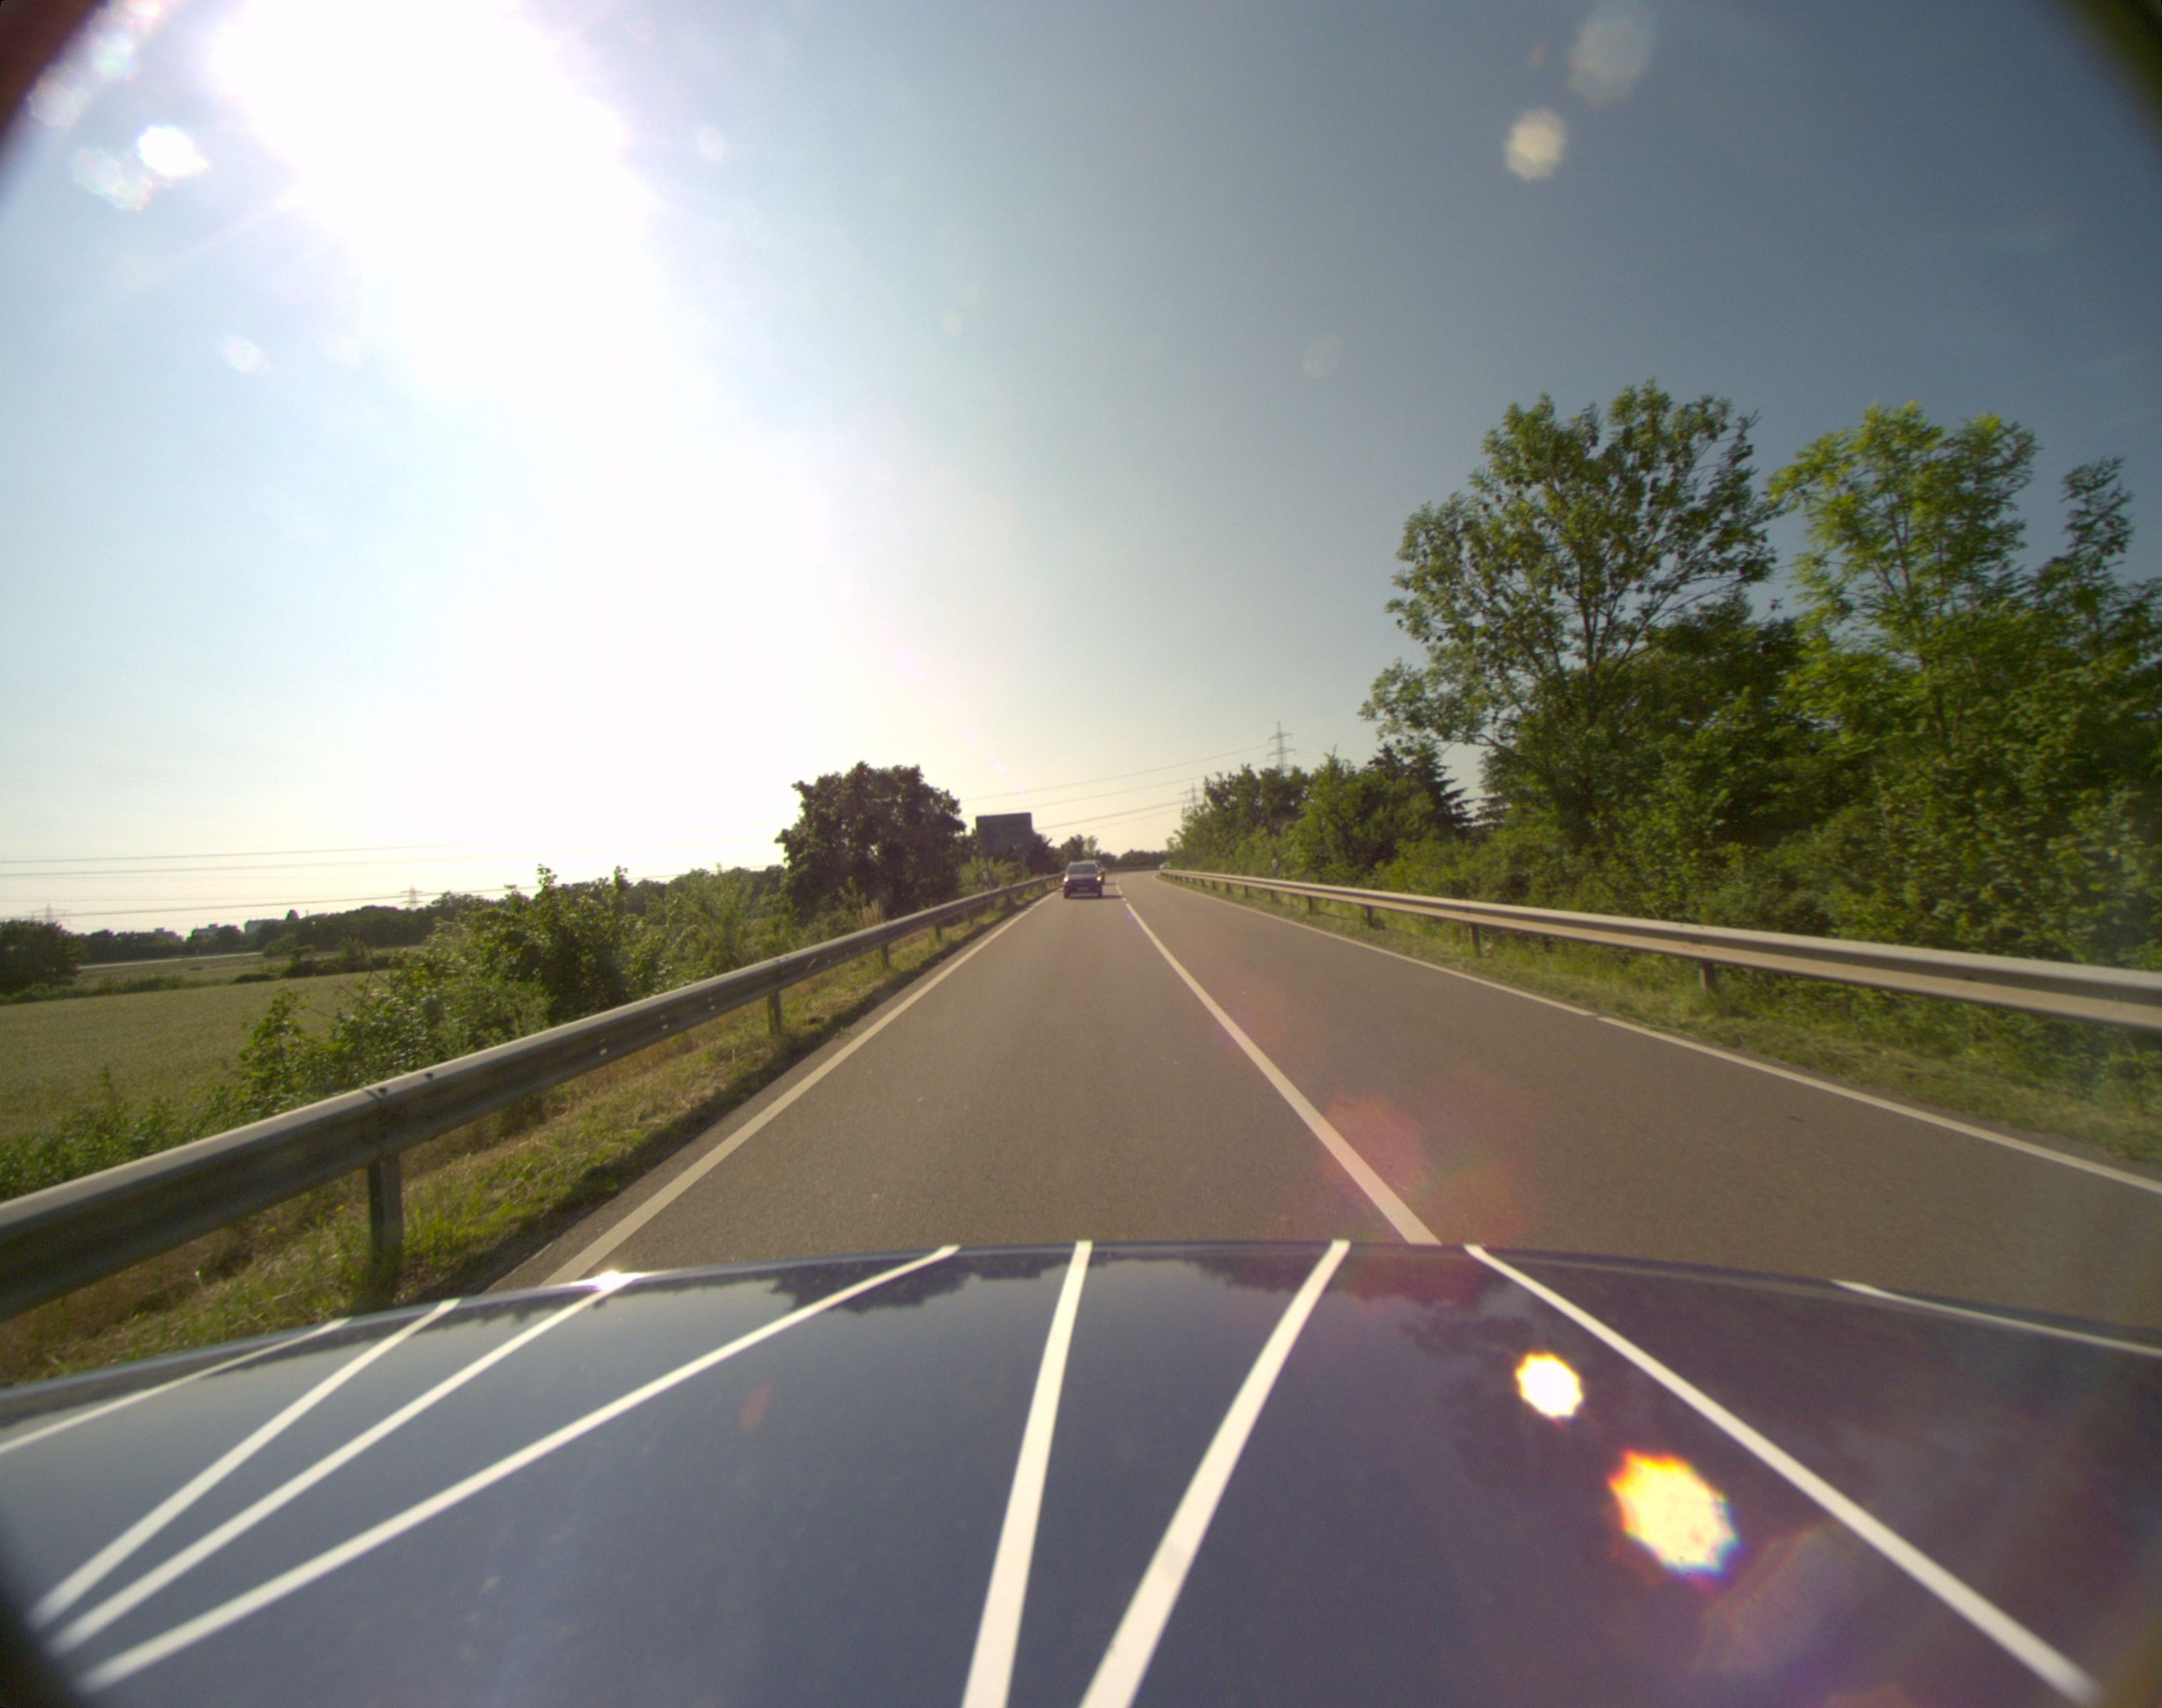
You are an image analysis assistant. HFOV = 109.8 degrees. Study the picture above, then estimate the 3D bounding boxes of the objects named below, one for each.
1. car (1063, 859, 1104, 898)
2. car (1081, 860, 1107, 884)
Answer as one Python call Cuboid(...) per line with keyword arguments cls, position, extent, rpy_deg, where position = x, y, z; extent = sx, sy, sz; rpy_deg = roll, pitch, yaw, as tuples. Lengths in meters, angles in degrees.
Cuboid(cls="car", position=(0.135, 1.004, 32.748), extent=(1.607, 1.486, 4.000), rpy_deg=(-2, 0, 1))
Cuboid(cls="car", position=(0.938, 1.200, 52.570), extent=(1.606, 1.486, 4.001), rpy_deg=(-2, 0, 3))
